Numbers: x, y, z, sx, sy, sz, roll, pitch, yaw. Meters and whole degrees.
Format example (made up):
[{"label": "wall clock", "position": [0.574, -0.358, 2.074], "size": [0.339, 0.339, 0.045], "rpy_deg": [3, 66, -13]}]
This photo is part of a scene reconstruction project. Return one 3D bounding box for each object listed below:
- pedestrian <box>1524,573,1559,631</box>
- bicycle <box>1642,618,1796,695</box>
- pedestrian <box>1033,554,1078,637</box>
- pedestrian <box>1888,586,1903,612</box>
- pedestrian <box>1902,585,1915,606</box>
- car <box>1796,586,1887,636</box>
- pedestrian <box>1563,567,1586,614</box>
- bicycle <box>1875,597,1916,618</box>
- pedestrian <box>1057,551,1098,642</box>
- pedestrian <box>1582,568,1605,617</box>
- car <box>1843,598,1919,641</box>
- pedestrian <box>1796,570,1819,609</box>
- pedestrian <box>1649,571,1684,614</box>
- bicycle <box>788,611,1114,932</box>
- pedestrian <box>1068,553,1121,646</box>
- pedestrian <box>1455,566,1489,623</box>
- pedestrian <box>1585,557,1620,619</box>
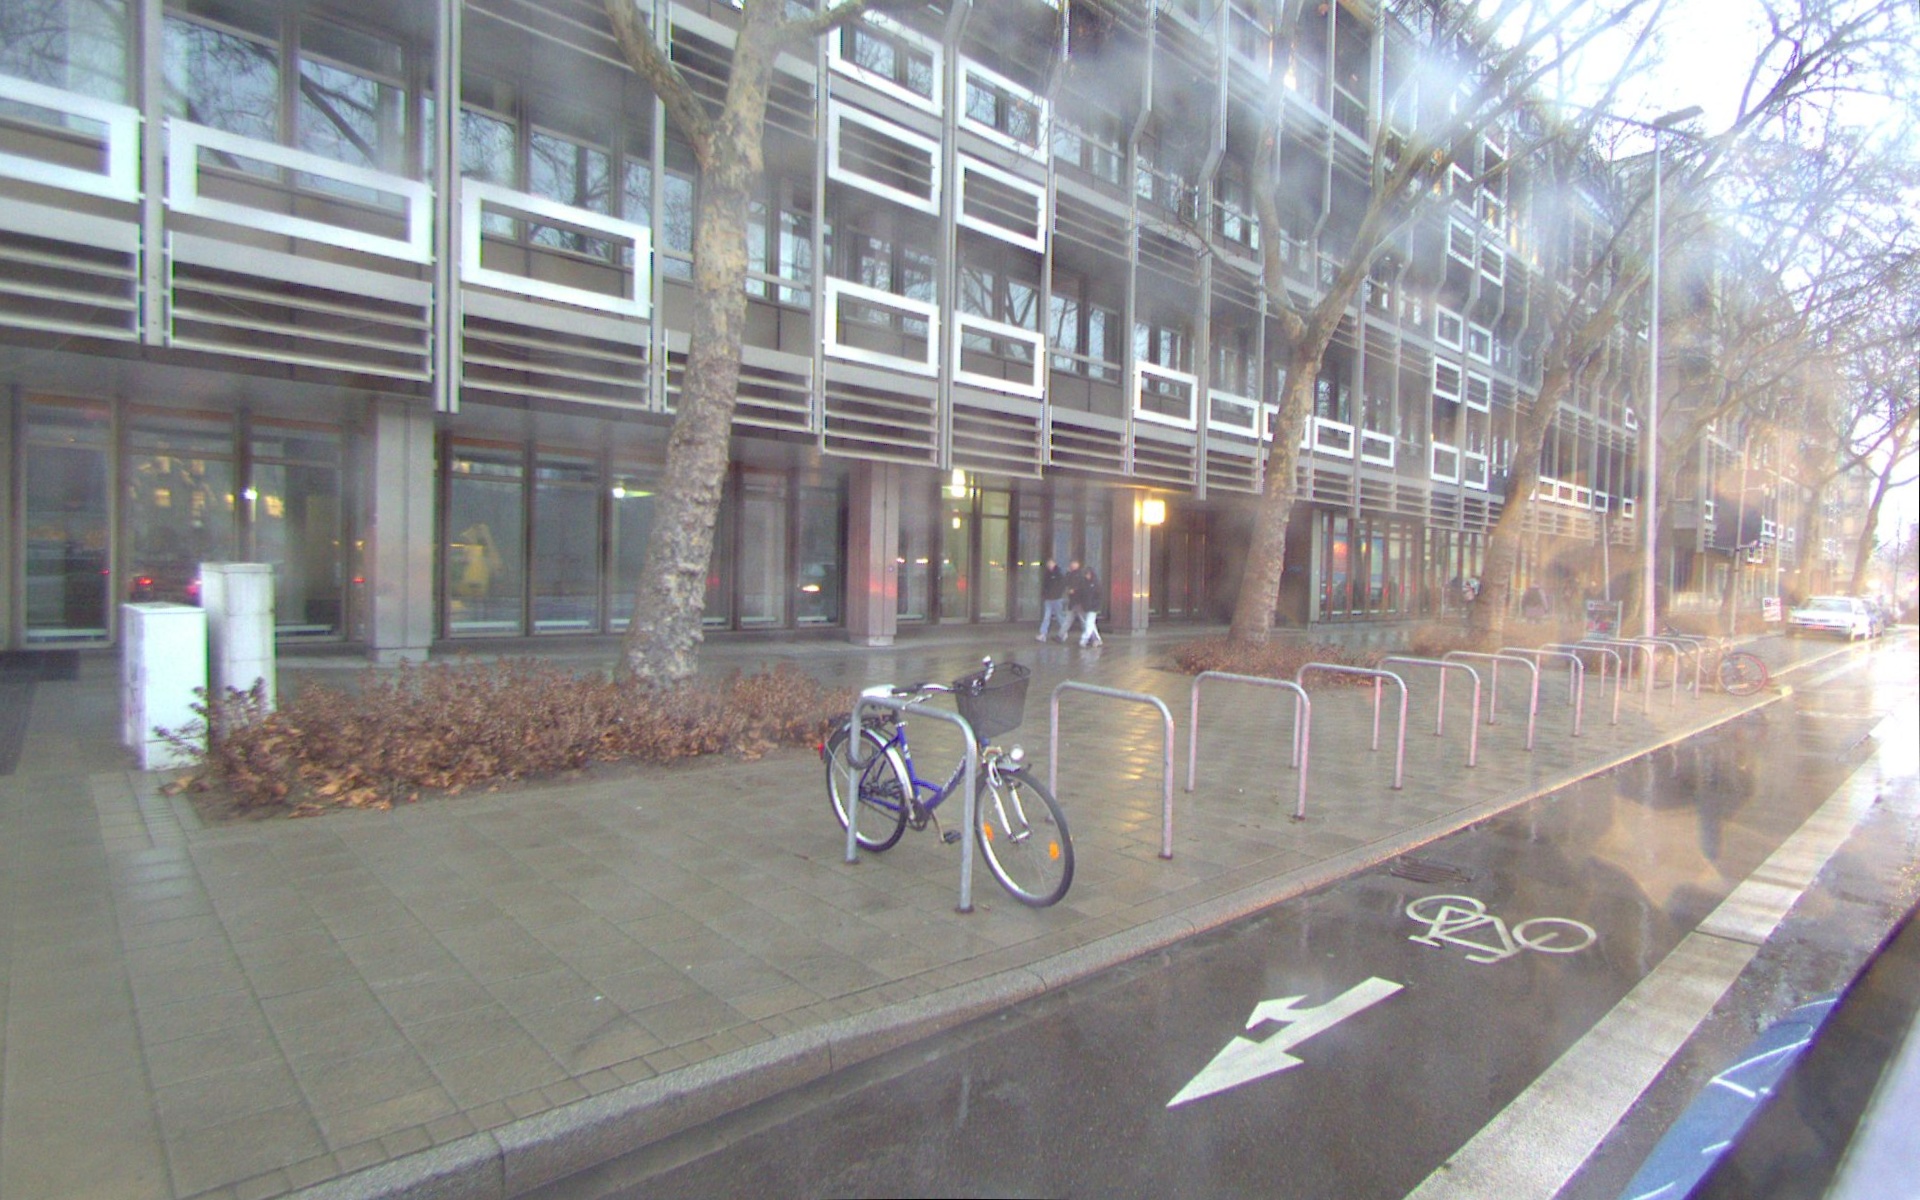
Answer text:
[{"label": "pedestrian", "position": [16.217, 0.048, 28.220], "size": [0.604, 1.563, 0.649], "rpy_deg": [0, 1, -40]}, {"label": "bicycle", "position": [11.642, 0.842, 15.561], "size": [0.607, 0.986, 1.789], "rpy_deg": [0, 3, -45]}, {"label": "pedestrian", "position": [1.851, -0.101, 19.653], "size": [0.733, 1.583, 0.484], "rpy_deg": [0, 1, -42]}, {"label": "pedestrian", "position": [76.804, -0.087, 83.051], "size": [0.758, 2.039, 0.837], "rpy_deg": [-1, 0, -42]}, {"label": "pedestrian", "position": [91.556, -0.438, 97.651], "size": [0.758, 2.039, 0.837], "rpy_deg": [-1, 0, -42]}, {"label": "car", "position": [29.416, 0.328, 33.746], "size": [3.859, 1.449, 1.609], "rpy_deg": [0, 4, -39]}, {"label": "pedestrian", "position": [22.175, -0.361, 36.535], "size": [0.636, 1.675, 0.835], "rpy_deg": [2, 1, 28]}, {"label": "bicycle", "position": [46.995, 0.355, 50.863], "size": [1.518, 1.049, 0.462], "rpy_deg": [0, 1, 42]}, {"label": "pedestrian", "position": [2.234, -0.079, 19.180], "size": [0.701, 1.689, 0.379], "rpy_deg": [0, 1, -41]}, {"label": "pedestrian", "position": [23.055, -0.286, 36.861], "size": [0.655, 1.739, 0.833], "rpy_deg": [2, 1, 32]}, {"label": "car", "position": [35.430, 0.695, 38.706], "size": [3.930, 1.504, 1.997], "rpy_deg": [-1, 1, -41]}, {"label": "pedestrian", "position": [45.310, -0.545, 54.112], "size": [1.007, 2.039, 0.790], "rpy_deg": [0, 1, -41]}, {"label": "pedestrian", "position": [25.752, -0.289, 36.886], "size": [0.824, 1.543, 0.865], "rpy_deg": [0, 2, -44]}, {"label": "bicycle", "position": [-0.125, 0.699, 4.833], "size": [0.428, 1.162, 1.752], "rpy_deg": [0, 4, -44]}, {"label": "pedestrian", "position": [2.493, -0.023, 18.773], "size": [0.858, 1.689, 0.501], "rpy_deg": [0, 2, -41]}, {"label": "pedestrian", "position": [15.332, -0.167, 30.315], "size": [0.767, 1.677, 0.617], "rpy_deg": [0, 1, -41]}, {"label": "pedestrian", "position": [21.675, -0.416, 34.140], "size": [0.723, 2.039, 0.821], "rpy_deg": [0, 1, -43]}]
